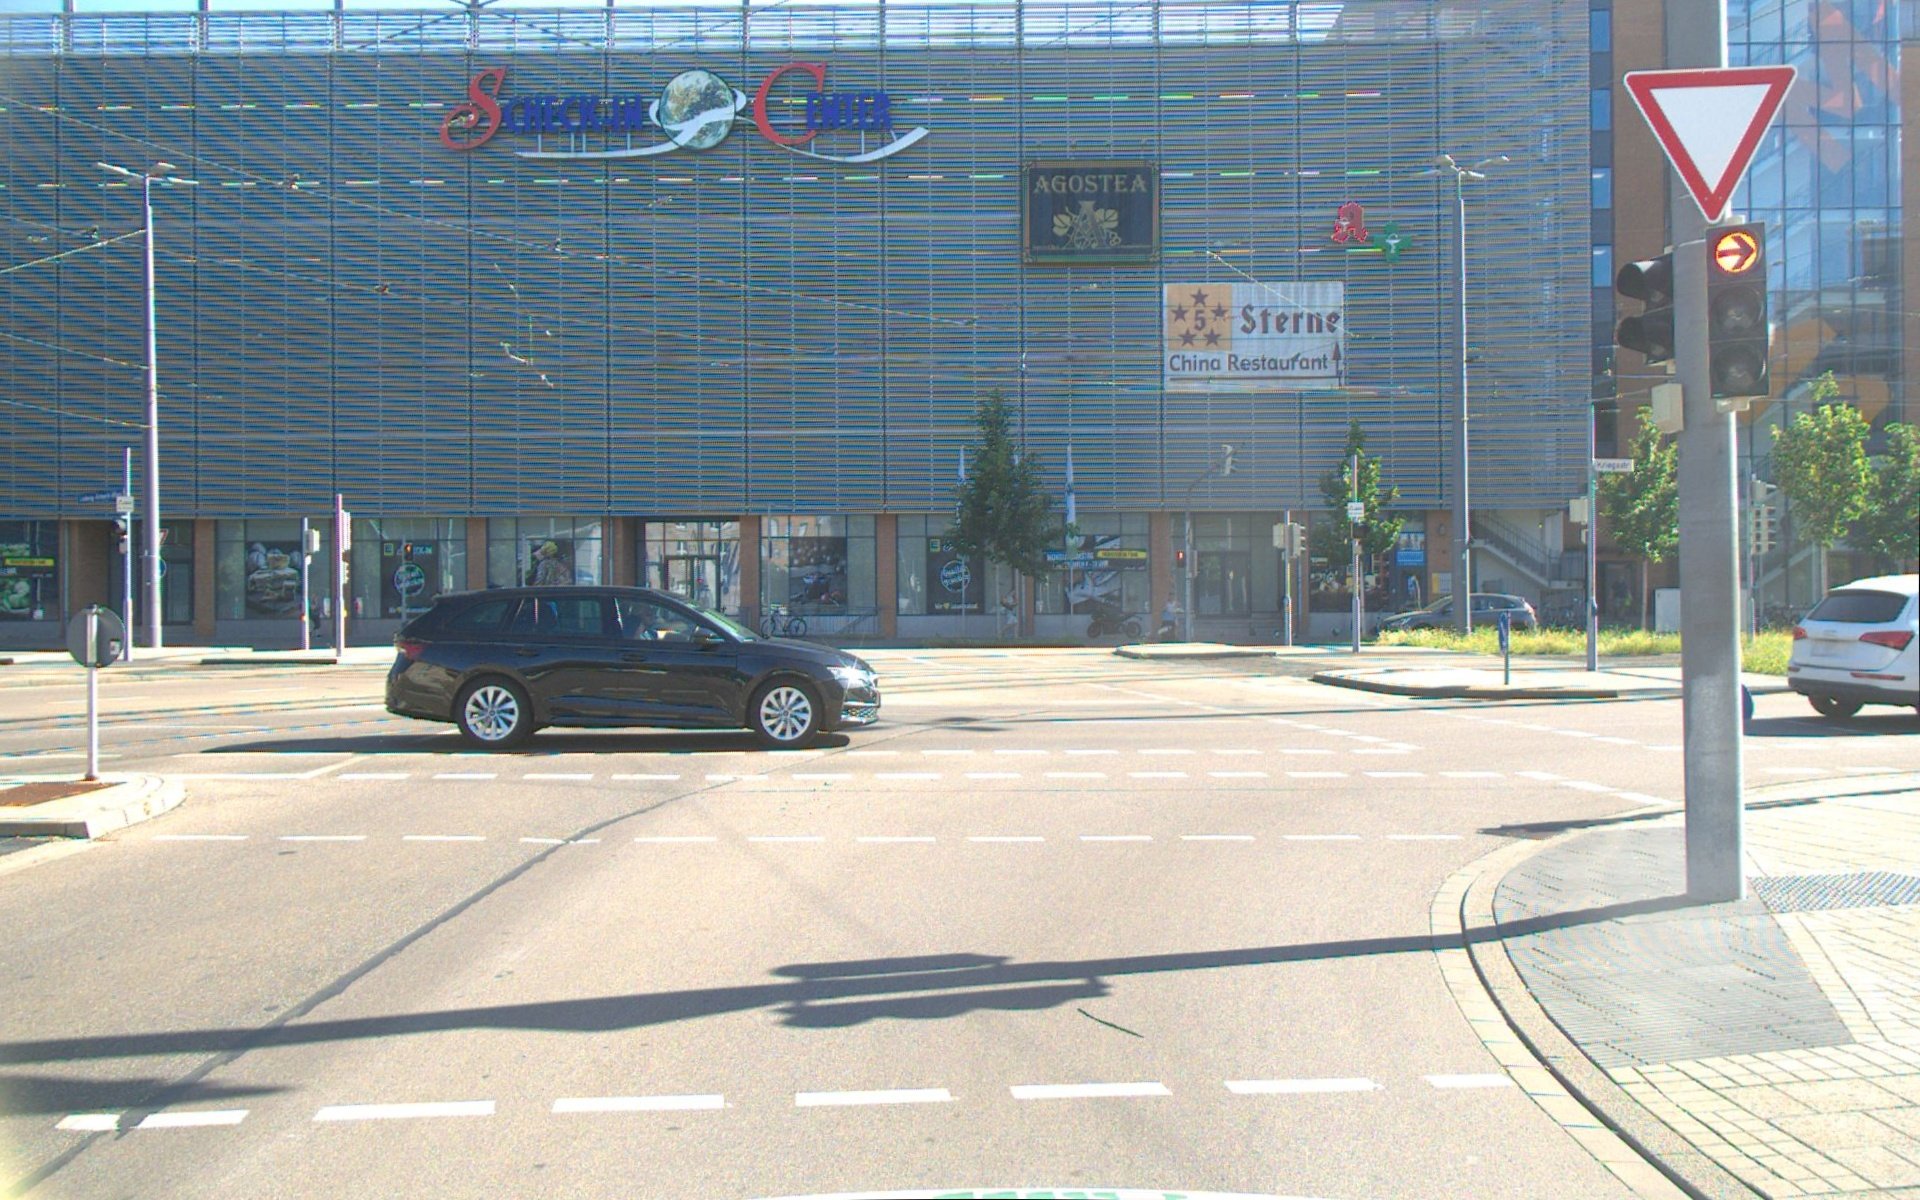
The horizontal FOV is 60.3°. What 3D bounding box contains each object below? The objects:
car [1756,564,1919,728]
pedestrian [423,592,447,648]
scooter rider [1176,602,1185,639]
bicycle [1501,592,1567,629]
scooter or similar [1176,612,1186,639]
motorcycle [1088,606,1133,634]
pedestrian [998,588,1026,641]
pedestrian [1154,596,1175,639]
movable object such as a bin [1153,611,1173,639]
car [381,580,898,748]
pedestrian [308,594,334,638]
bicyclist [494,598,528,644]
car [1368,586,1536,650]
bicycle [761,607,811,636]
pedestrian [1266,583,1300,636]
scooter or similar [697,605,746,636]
[{"bbox_3d":[11.762,0.451,18.962,4.588,1.737,1.931,-1,0,-13],"label":"car"},{"bbox_3d":[-17.342,0.663,54.665,0.683,1.829,0.727,-2,0,-17],"label":"pedestrian"},{"bbox_3d":[7.357,0.669,55.127,0.282,1.221,0.386,1,-1,10],"label":"scooter rider"},{"bbox_3d":[21.285,0.393,61.349,2.209,1.318,0.605,1,-1,-2],"label":"bicycle"},{"bbox_3d":[7.363,0.836,55.187,0.288,0.888,1.004,1,0,10],"label":"scooter or similar"},{"bbox_3d":[5.526,0.730,60.705,1.605,1.022,0.447,1,0,6],"label":"motorcycle"},{"bbox_3d":[1.877,0.520,59.621,0.930,1.860,0.846,-2,-4,5],"label":"pedestrian"},{"bbox_3d":[6.854,0.580,55.361,0.641,1.438,0.850,1,0,10],"label":"pedestrian"},{"bbox_3d":[6.738,0.834,54.894,0.599,0.920,0.970,1,0,10],"label":"movable object such as a bin"},{"bbox_3d":[-2.933,0.573,15.801,4.578,1.487,1.831,0,0,-6],"label":"car"},{"bbox_3d":[-23.830,0.610,61.713,0.646,1.629,0.594,1,-1,18],"label":"pedestrian"},{"bbox_3d":[-14.802,0.691,54.541,0.663,1.452,0.844,0,2,42],"label":"bicyclist"},{"bbox_3d":[13.667,0.499,46.043,4.063,1.495,1.840,3,-1,-2],"label":"car"},{"bbox_3d":[-6.369,0.780,60.429,1.783,1.006,0.556,0,1,-11],"label":"bicycle"},{"bbox_3d":[11.575,0.336,59.290,0.991,1.860,1.036,-2,0,3],"label":"pedestrian"},{"bbox_3d":[-8.749,0.749,60.777,1.759,1.085,0.611,0,1,-9],"label":"scooter or similar"}]
